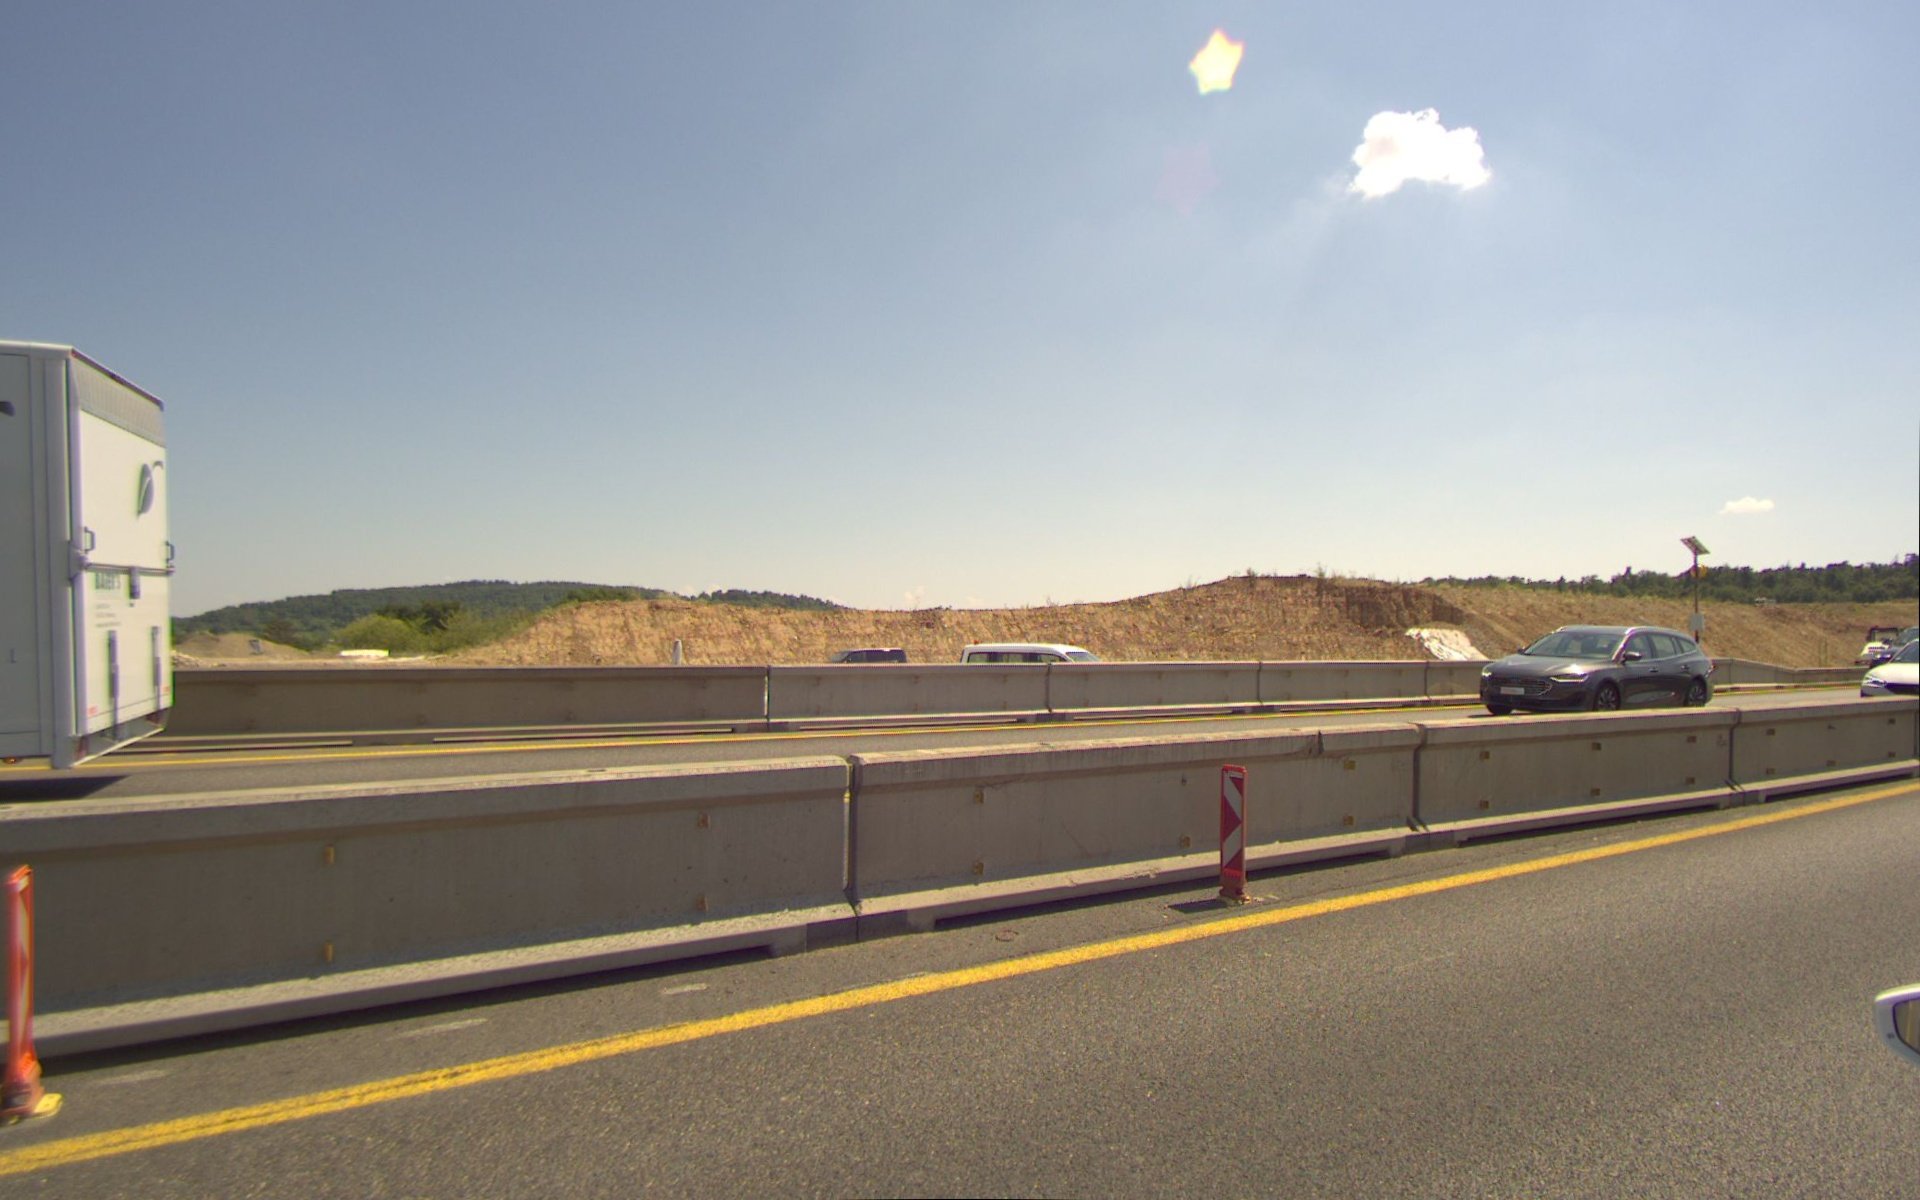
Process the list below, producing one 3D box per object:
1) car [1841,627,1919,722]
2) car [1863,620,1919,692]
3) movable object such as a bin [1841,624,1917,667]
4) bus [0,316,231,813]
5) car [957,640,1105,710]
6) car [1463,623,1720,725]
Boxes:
[{"bbox_3d":[16.849,1.213,16.894,4.582,1.474,1.806,1,-1,-32],"label":"car"},{"bbox_3d":[24.978,1.408,25.444,4.664,1.701,1.913,1,-1,-32],"label":"car"},{"bbox_3d":[55.815,2.753,60.936,6.669,2.493,1.692,1,-1,-32],"label":"movable object such as a bin"},{"bbox_3d":[-9.158,-0.266,6.208,7.132,3.167,2.342,1,-1,-26],"label":"bus"},{"bbox_3d":[1.651,1.709,23.647,3.148,1.474,1.543,0,-1,34],"label":"car"},{"bbox_3d":[10.337,1.129,16.339,4.597,1.442,1.811,1,-2,-33],"label":"car"}]
